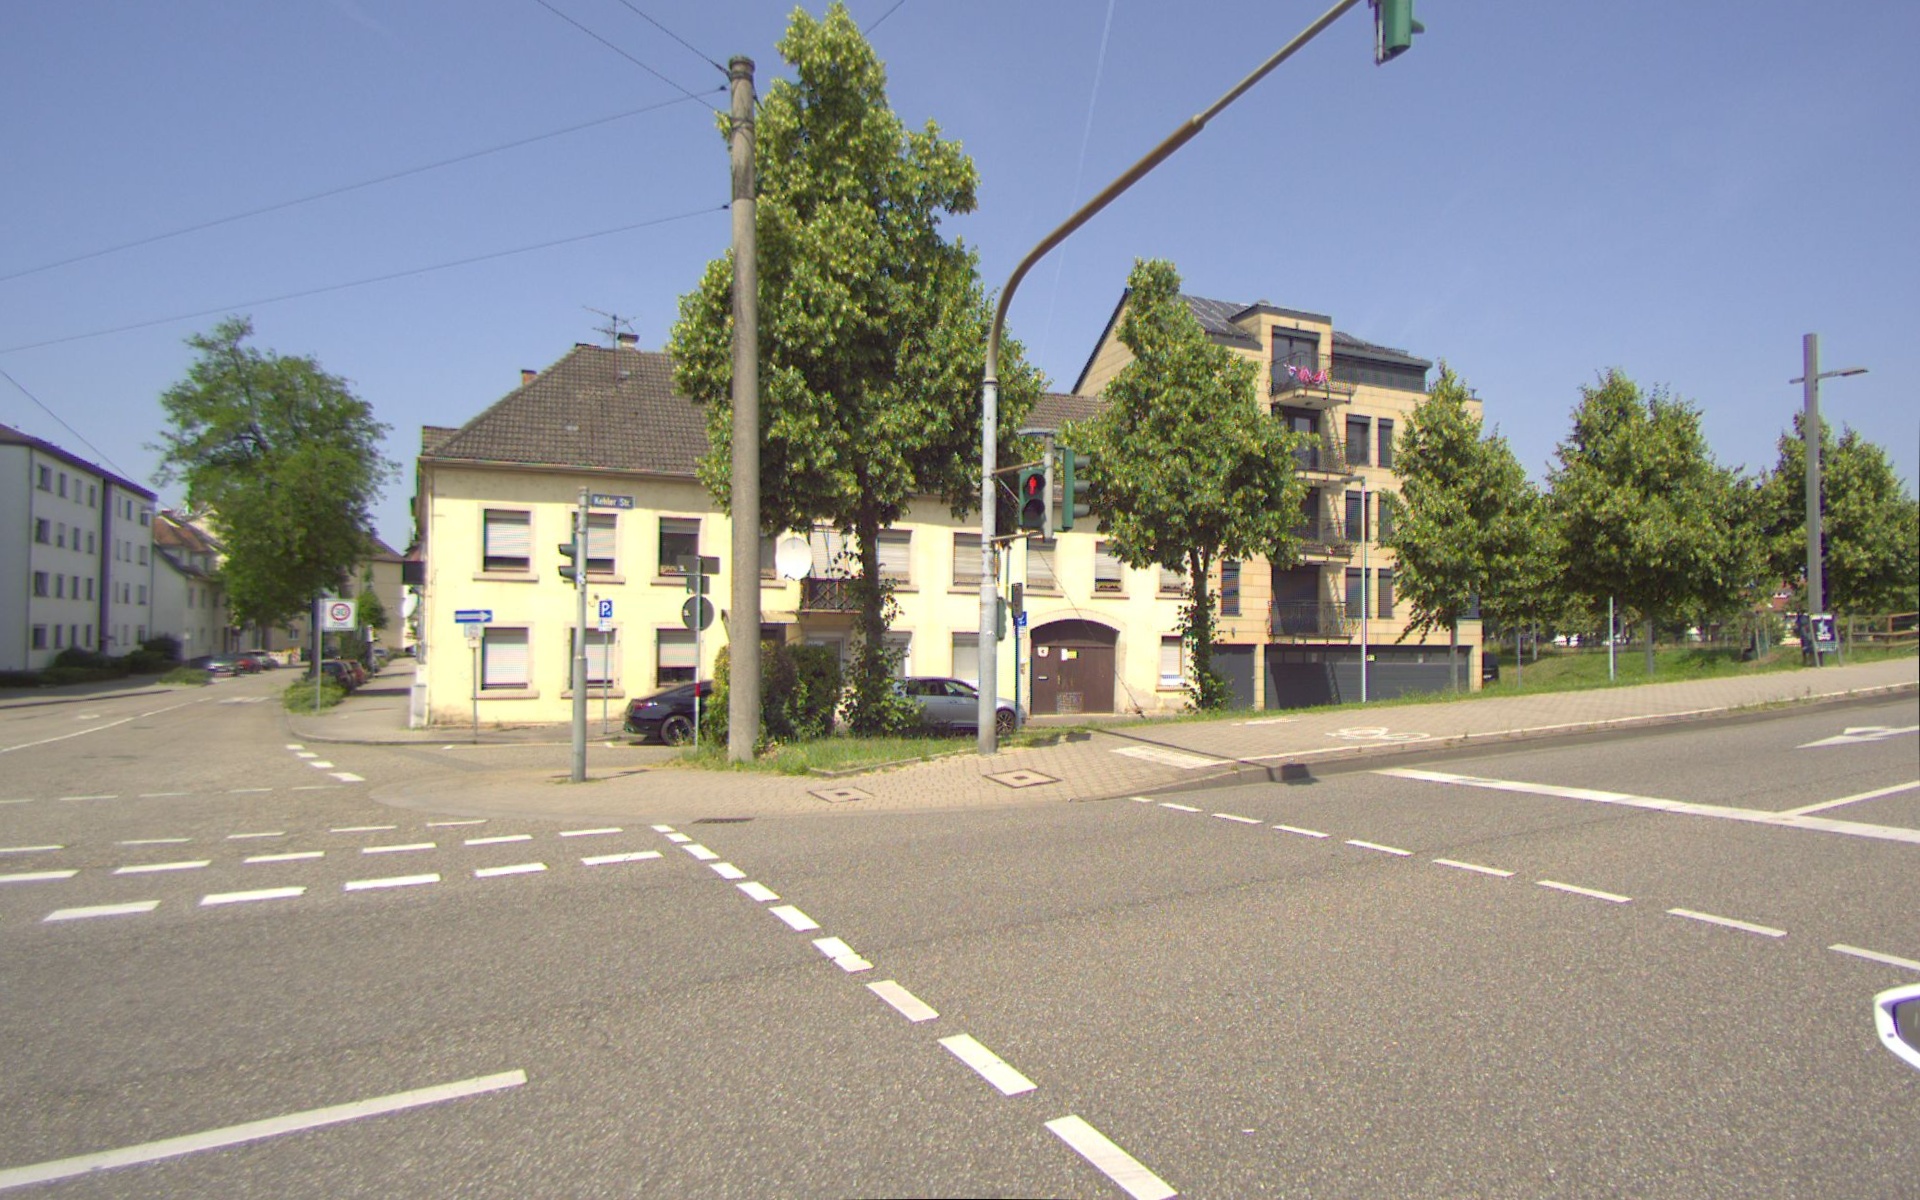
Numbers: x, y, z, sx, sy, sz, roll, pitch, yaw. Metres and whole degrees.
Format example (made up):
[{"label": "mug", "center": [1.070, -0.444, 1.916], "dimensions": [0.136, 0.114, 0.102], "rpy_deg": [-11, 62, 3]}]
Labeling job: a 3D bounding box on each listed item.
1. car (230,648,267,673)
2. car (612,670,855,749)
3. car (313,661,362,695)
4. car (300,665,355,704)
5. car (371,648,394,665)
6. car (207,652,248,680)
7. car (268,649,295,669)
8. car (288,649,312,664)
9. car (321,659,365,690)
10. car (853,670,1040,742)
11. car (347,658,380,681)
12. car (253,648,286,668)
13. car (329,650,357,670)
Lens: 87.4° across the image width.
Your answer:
[{"label": "car", "center": [-52.979, 4.479, 74.857], "dimensions": [1.526, 1.694, 3.235], "rpy_deg": [1, -1, -23]}, {"label": "car", "center": [-5.178, 2.449, 23.068], "dimensions": [5.210, 1.649, 1.812], "rpy_deg": [1, -4, -23]}, {"label": "car", "center": [-30.920, 3.841, 49.994], "dimensions": [1.787, 1.425, 3.970], "rpy_deg": [2, -1, -28]}, {"label": "car", "center": [-28.412, 3.747, 45.181], "dimensions": [1.787, 1.425, 3.970], "rpy_deg": [2, -1, -28]}, {"label": "car", "center": [-55.591, 5.433, 96.750], "dimensions": [1.526, 1.407, 3.235], "rpy_deg": [1, -1, -23]}, {"label": "car", "center": [-49.989, 4.482, 68.604], "dimensions": [1.526, 1.694, 3.235], "rpy_deg": [1, -1, -23]}, {"label": "car", "center": [-64.620, 5.624, 95.722], "dimensions": [1.526, 1.694, 3.235], "rpy_deg": [1, -1, -23]}, {"label": "car", "center": [-68.881, 5.856, 104.845], "dimensions": [1.526, 1.400, 3.235], "rpy_deg": [1, -1, -23]}, {"label": "car", "center": [-34.024, 4.087, 55.471], "dimensions": [1.814, 1.425, 4.297], "rpy_deg": [2, -1, -28]}, {"label": "car", "center": [-0.330, 2.596, 25.141], "dimensions": [4.365, 1.451, 1.772], "rpy_deg": [0, 0, -23]}, {"label": "car", "center": [-43.318, 5.030, 73.017], "dimensions": [1.814, 1.425, 4.297], "rpy_deg": [2, -1, -28]}, {"label": "car", "center": [-55.123, 4.625, 80.221], "dimensions": [1.527, 1.418, 3.234], "rpy_deg": [1, -1, -24]}, {"label": "car", "center": [-50.933, 4.959, 82.968], "dimensions": [1.692, 1.425, 4.051], "rpy_deg": [2, -1, -28]}]
